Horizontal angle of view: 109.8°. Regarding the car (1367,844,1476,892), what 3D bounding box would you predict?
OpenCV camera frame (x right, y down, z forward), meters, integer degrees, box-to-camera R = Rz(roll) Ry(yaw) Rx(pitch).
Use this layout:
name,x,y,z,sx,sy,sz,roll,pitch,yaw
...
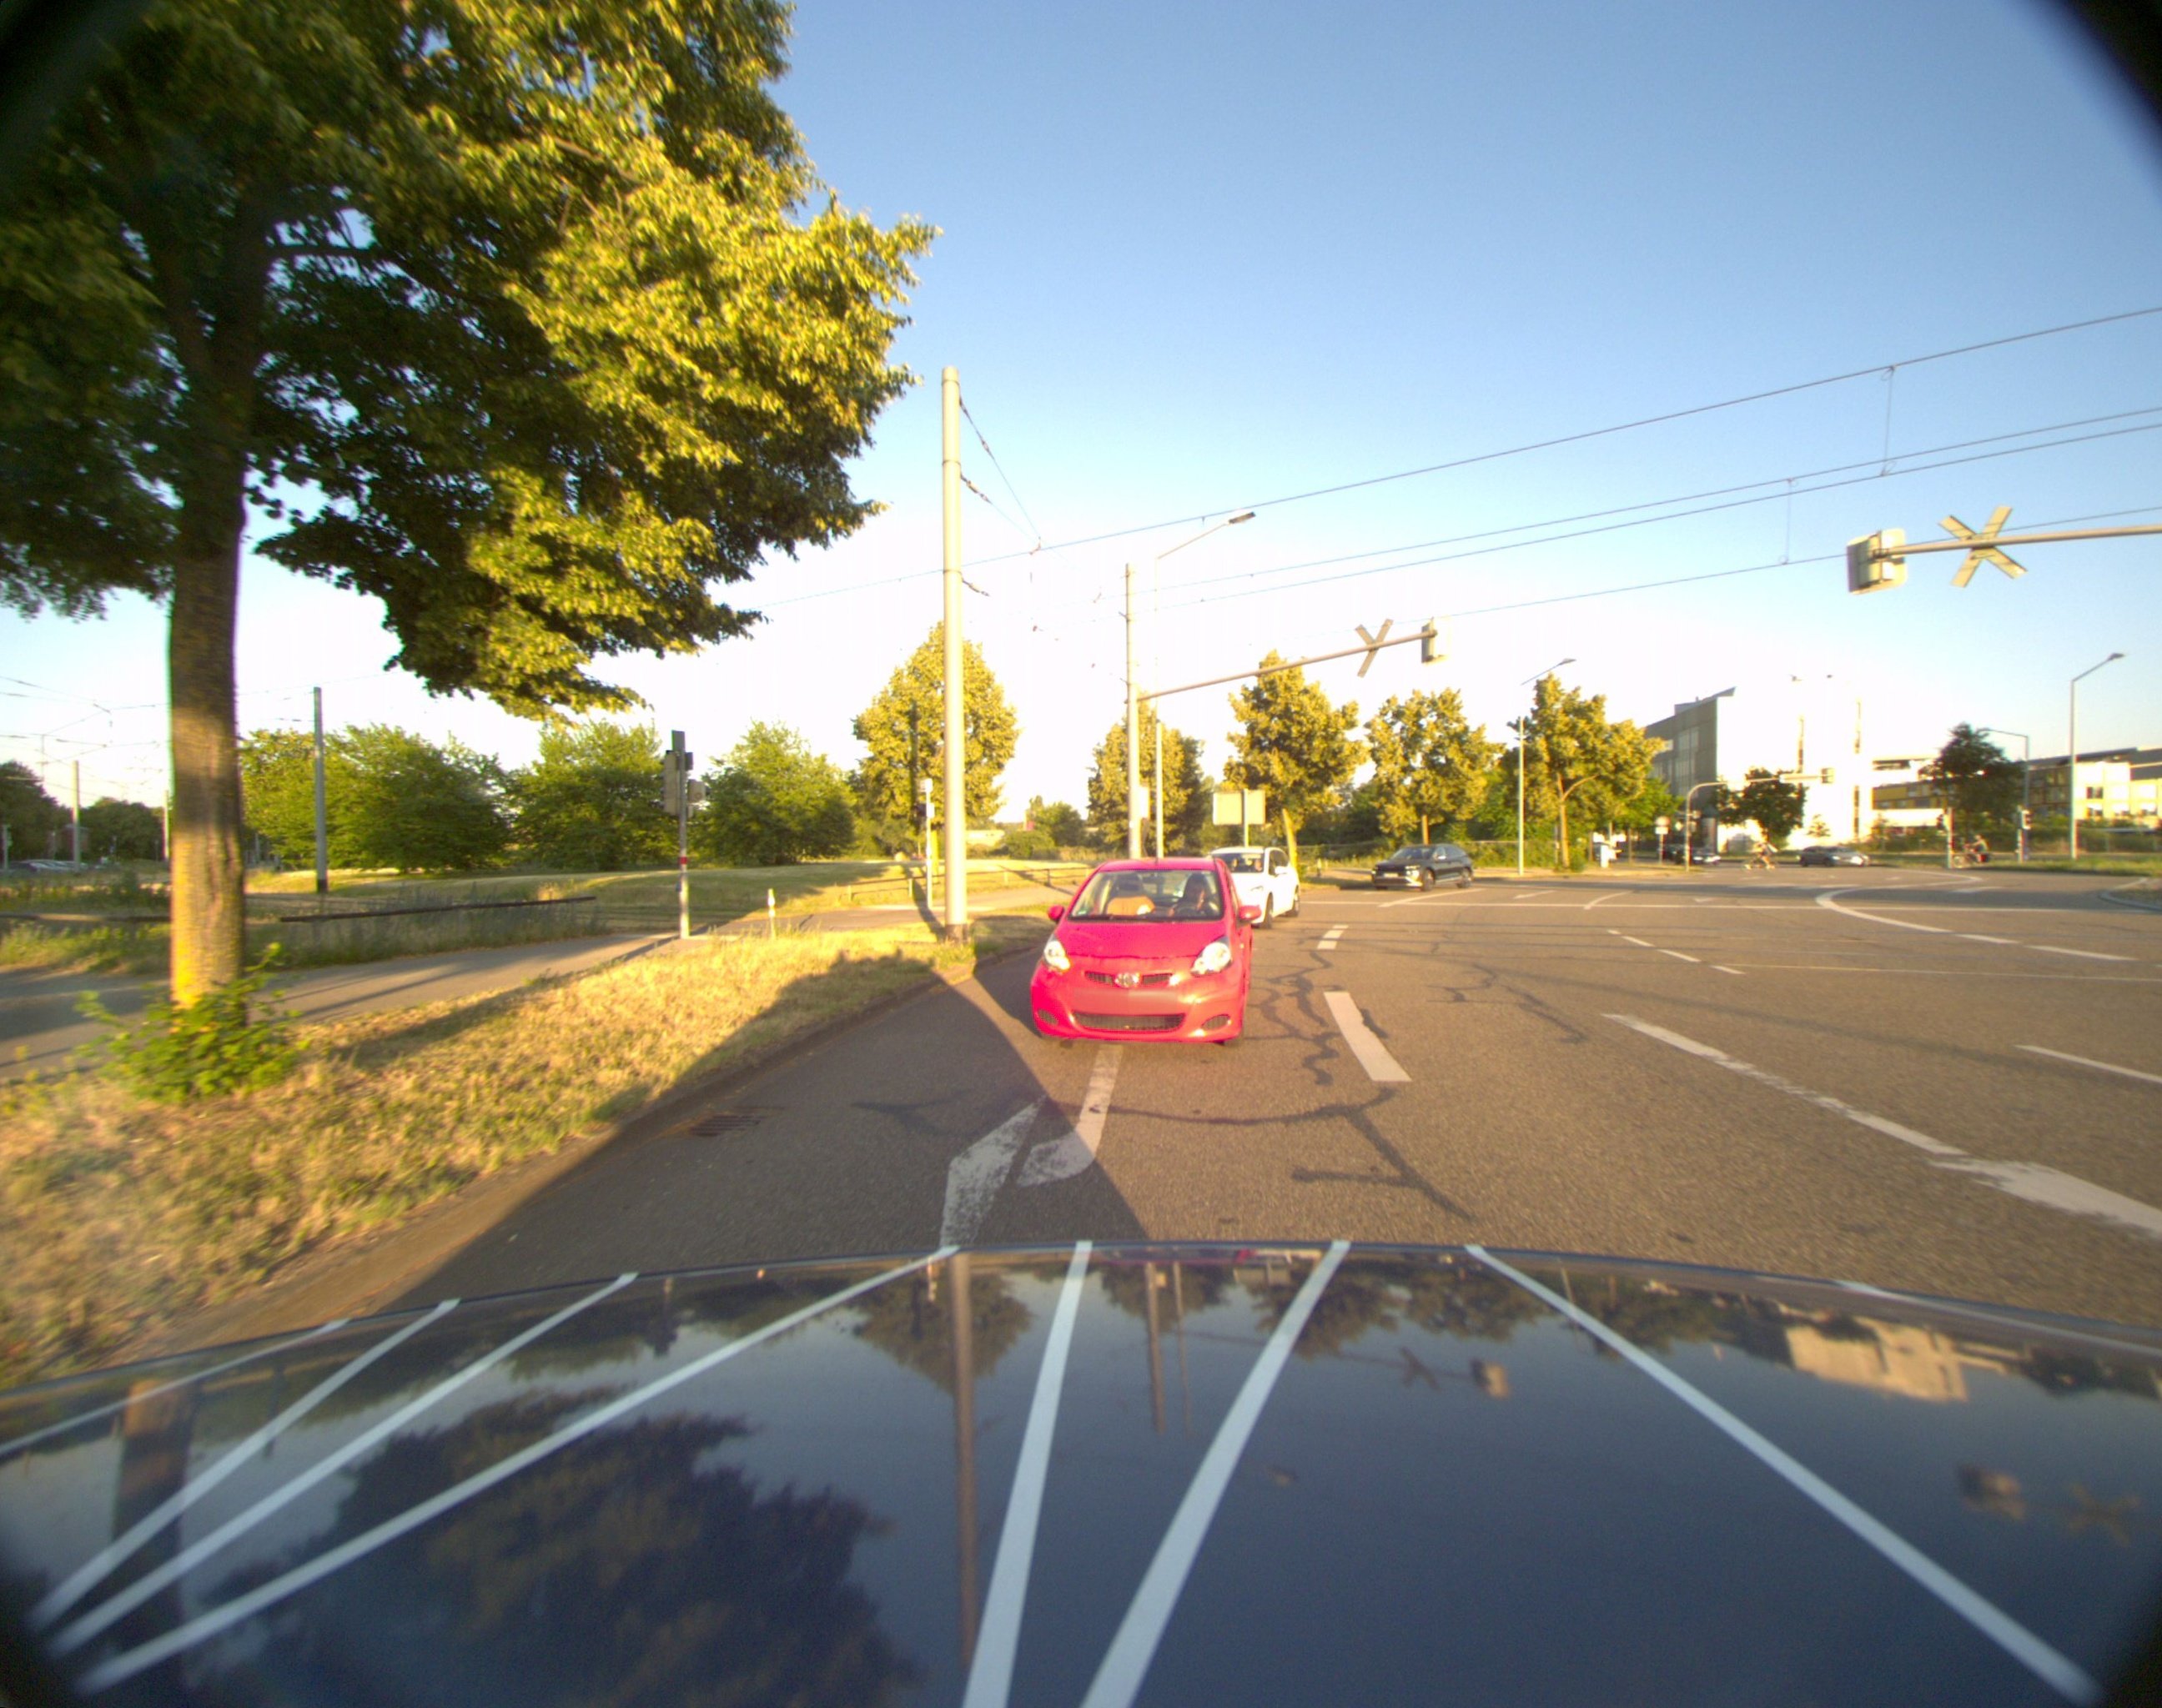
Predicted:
name,x,y,z,sx,sy,sz,roll,pitch,yaw
car,11.983,0.440,26.599,4.223,1.549,1.823,-1,1,-40

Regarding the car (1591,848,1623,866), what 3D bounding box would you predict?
name,x,y,z,sx,sy,sz,roll,pitch,yaw
car,51.900,0.280,74.993,1.868,1.740,3.858,0,1,24

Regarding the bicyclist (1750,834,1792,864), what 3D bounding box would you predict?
name,x,y,z,sx,sy,sz,roll,pitch,yaw
bicyclist,40.110,-0.287,44.210,1.415,1.739,1.124,-1,1,10

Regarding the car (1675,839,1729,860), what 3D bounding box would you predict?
name,x,y,z,sx,sy,sz,roll,pitch,yaw
car,50.688,-0.389,62.069,1.869,1.616,4.197,-1,1,15

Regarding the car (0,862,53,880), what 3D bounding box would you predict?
name,x,y,z,sx,sy,sz,roll,pitch,yaw
car,-93.600,1.494,66.876,1.706,1.473,3.619,-2,-1,40

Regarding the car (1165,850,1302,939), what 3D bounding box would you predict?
name,x,y,z,sx,sy,sz,roll,pitch,yaw
car,3.262,0.699,15.574,1.756,1.549,4.222,0,0,26

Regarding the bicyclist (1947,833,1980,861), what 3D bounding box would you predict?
name,x,y,z,sx,sy,sz,roll,pitch,yaw
bicyclist,51.886,-0.408,44.672,0.998,1.623,0.812,0,1,23

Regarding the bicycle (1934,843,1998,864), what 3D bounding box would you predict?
name,x,y,z,sx,sy,sz,roll,pitch,yaw
bicycle,51.968,-0.019,44.649,2.323,1.172,0.812,0,1,23

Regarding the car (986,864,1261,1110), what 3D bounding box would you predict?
name,x,y,z,sx,sy,sz,roll,pitch,yaw
car,0.721,0.873,6.898,1.691,1.413,4.215,-2,0,14

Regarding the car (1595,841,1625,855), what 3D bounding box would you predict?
name,x,y,z,sx,sy,sz,roll,pitch,yaw
car,63.112,-0.760,90.684,1.869,1.616,4.198,0,1,18

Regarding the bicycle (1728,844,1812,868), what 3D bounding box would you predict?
name,x,y,z,sx,sy,sz,roll,pitch,yaw
bicycle,40.079,0.114,44.247,3.533,1.387,1.124,-1,1,10

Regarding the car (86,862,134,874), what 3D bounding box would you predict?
name,x,y,z,sx,sy,sz,roll,pitch,yaw
car,-120.250,1.764,94.175,1.706,1.473,3.619,-2,-1,40

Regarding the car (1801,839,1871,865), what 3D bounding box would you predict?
name,x,y,z,sx,sy,sz,roll,pitch,yaw
car,49.502,-0.148,49.918,1.868,1.616,4.199,0,1,24
